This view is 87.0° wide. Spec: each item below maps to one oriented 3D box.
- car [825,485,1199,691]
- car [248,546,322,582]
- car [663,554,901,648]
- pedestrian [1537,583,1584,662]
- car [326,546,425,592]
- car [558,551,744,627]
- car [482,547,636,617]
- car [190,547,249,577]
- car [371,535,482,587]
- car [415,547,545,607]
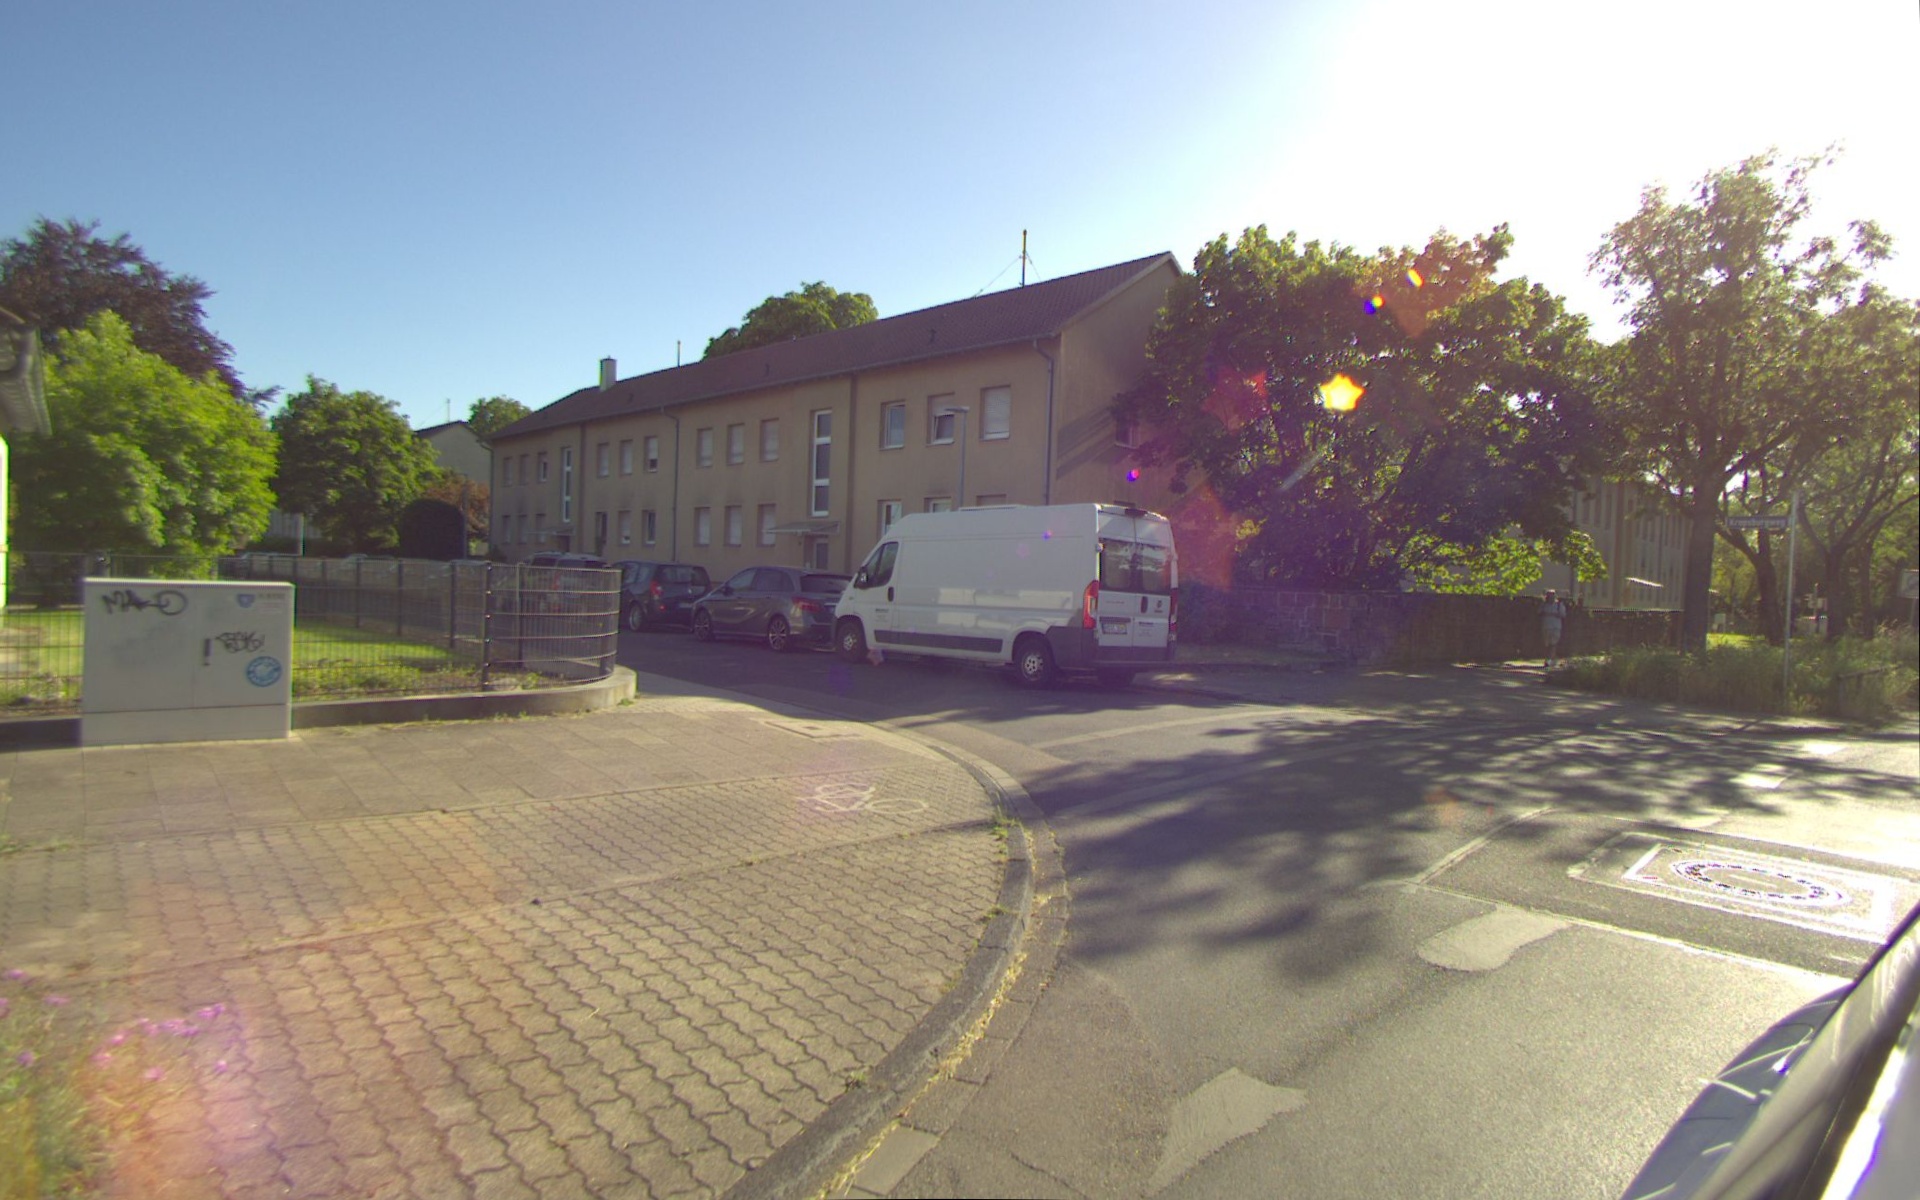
[{"bbox_3d":[0.564,-0.260,15.424,2.229,2.570,5.599,1,1,-45],"label":"car"},{"bbox_3d":[-34.321,-1.781,51.386,2.248,1.669,4.743,3,-1,-45],"label":"car"},{"bbox_3d":[-3.560,0.004,19.689,2.248,1.602,4.743,3,-1,-45],"label":"car"},{"bbox_3d":[13.612,0.500,22.952,0.602,1.726,0.638,3,2,-43],"label":"pedestrian"},{"bbox_3d":[-23.312,-1.199,40.290,2.248,1.669,4.743,3,-1,-45],"label":"car"},{"bbox_3d":[-7.368,-0.310,23.857,2.249,1.601,4.743,-3,3,-45],"label":"car"},{"bbox_3d":[-11.142,-0.480,27.948,2.248,1.708,4.743,3,-1,-45],"label":"car"},{"bbox_3d":[-46.332,-2.327,63.273,2.248,1.669,4.743,3,-1,-45],"label":"car"},{"bbox_3d":[-19.478,-1.371,36.853,2.248,1.708,4.743,3,-1,-45],"label":"car"},{"bbox_3d":[-15.243,-0.707,32.024,2.248,1.708,4.743,3,-1,-45],"label":"car"}]
